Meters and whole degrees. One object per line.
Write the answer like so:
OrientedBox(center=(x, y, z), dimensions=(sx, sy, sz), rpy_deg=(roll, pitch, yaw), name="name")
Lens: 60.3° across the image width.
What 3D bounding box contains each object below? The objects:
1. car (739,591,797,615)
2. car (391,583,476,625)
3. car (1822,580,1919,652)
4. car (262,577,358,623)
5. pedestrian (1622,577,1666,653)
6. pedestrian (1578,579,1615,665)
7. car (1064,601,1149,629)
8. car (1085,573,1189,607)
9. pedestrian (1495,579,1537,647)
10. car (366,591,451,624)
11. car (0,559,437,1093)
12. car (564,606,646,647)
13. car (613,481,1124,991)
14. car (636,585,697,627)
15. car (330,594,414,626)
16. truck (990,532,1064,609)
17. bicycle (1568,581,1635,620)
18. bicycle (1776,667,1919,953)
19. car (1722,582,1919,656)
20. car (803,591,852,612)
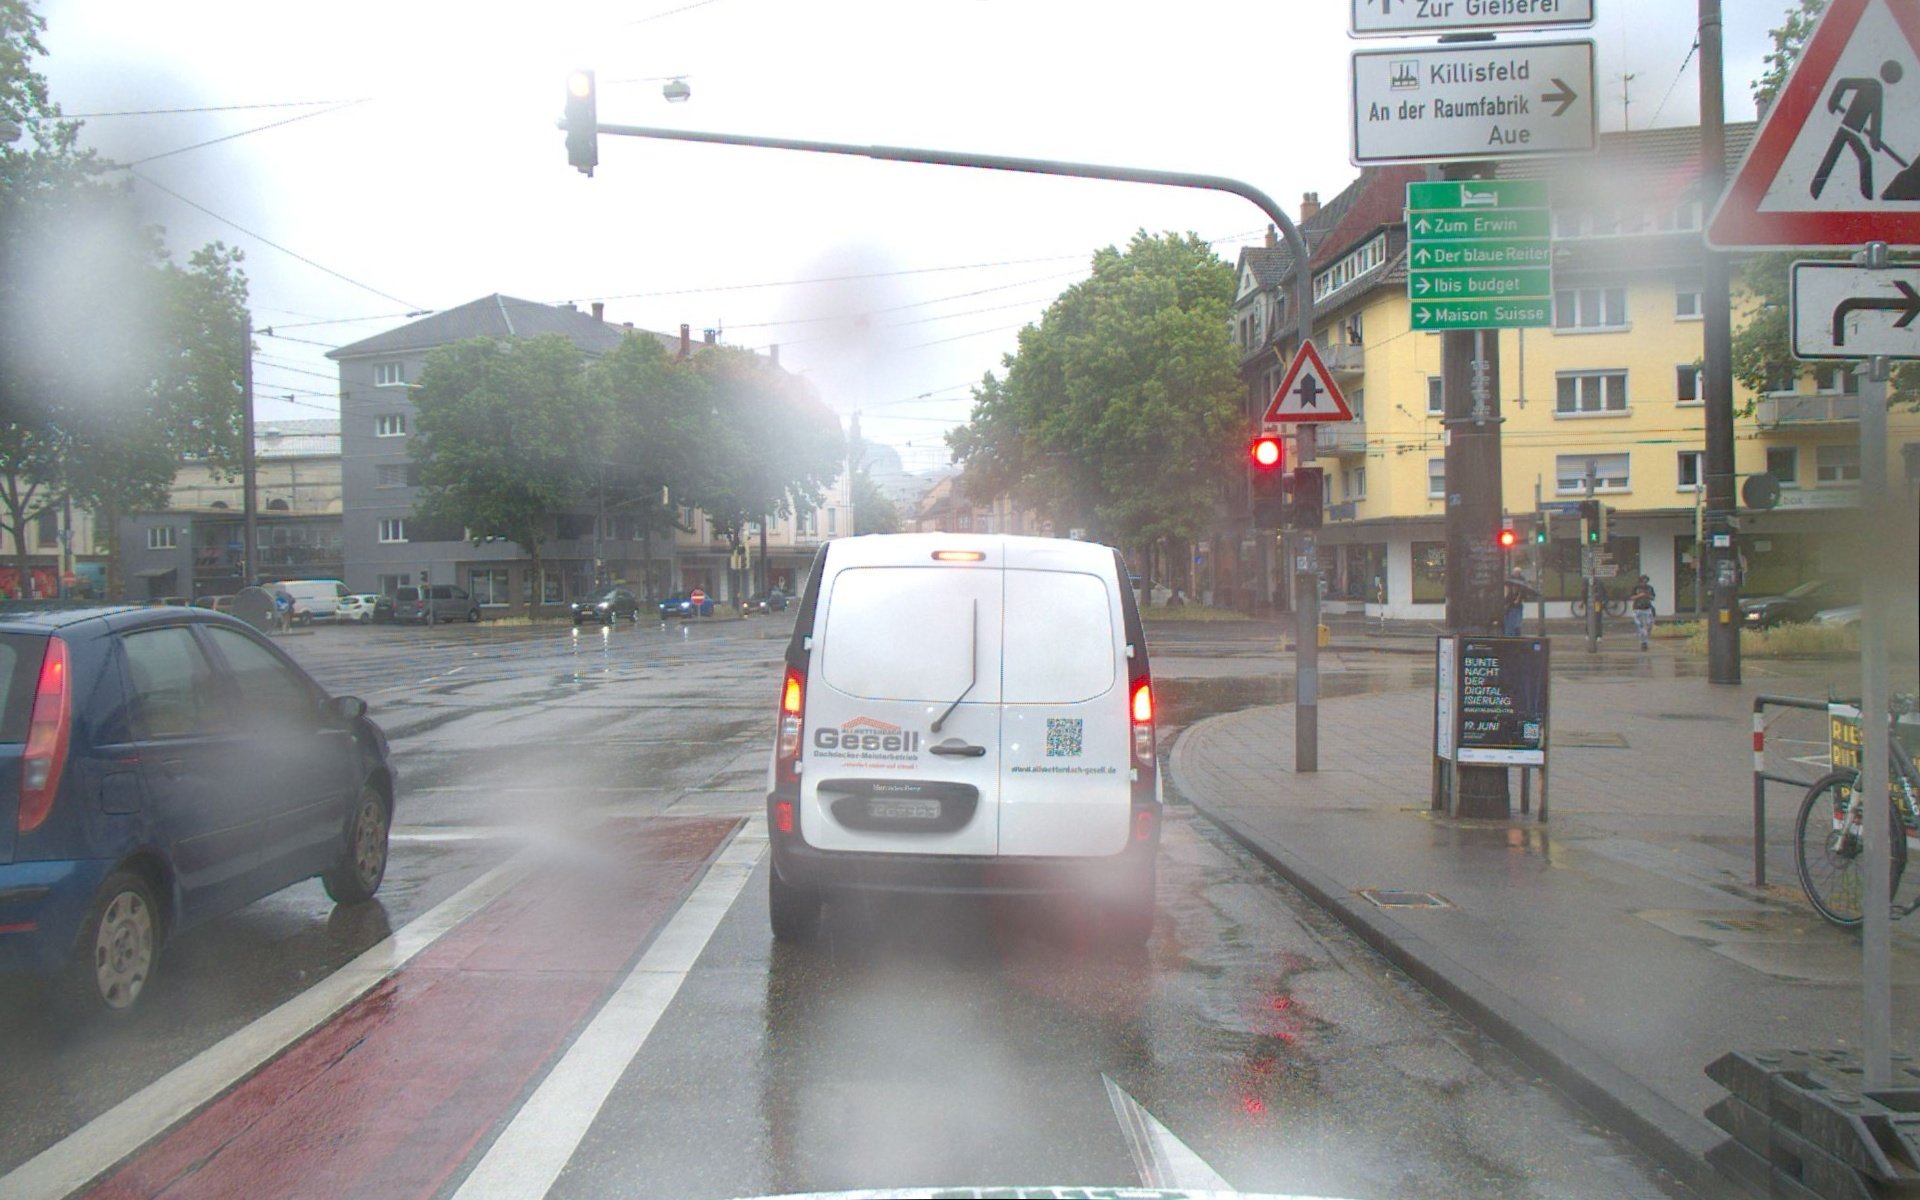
OrientedBox(center=(-11.045, 0.142, 95.429), dimensions=(1.909, 1.260, 4.003), rpy_deg=(0, 2, 16), name="car")
OrientedBox(center=(-26.799, 0.191, 84.285), dimensions=(1.954, 2.049, 3.996), rpy_deg=(0, 0, 26), name="car")
OrientedBox(center=(21.096, 0.332, 35.960), dimensions=(3.854, 1.516, 1.808), rpy_deg=(0, 1, 15), name="car")
OrientedBox(center=(-34.136, -0.032, 86.955), dimensions=(1.953, 2.236, 4.787), rpy_deg=(1, 2, 22), name="car")
OrientedBox(center=(15.561, 0.344, 37.618), dimensions=(0.886, 1.698, 1.019), rpy_deg=(0, 0, 25), name="pedestrian")
OrientedBox(center=(15.386, 0.514, 39.978), dimensions=(0.779, 2.049, 0.860), rpy_deg=(0, 0, 24), name="pedestrian")
OrientedBox(center=(6.274, 0.639, 70.983), dimensions=(3.378, 1.150, 1.469), rpy_deg=(0, 0, -9), name="car")
OrientedBox(center=(7.395, -0.419, 69.060), dimensions=(4.088, 1.362, 1.518), rpy_deg=(0, 1, -8), name="car")
OrientedBox(center=(13.060, 0.300, 38.856), dimensions=(0.809, 1.561, 0.614), rpy_deg=(1, 0, -39), name="pedestrian")
OrientedBox(center=(-28.729, 0.379, 86.295), dimensions=(1.954, 1.556, 3.997), rpy_deg=(0, 2, 26), name="car")
OrientedBox(center=(-3.609, 0.673, 6.874), dimensions=(1.692, 1.606, 3.820), rpy_deg=(0, 0, -1), name="car")
OrientedBox(center=(-15.776, 1.161, 73.646), dimensions=(1.909, 1.635, 4.003), rpy_deg=(0, 2, 16), name="car")
OrientedBox(center=(-0.404, 0.552, 9.166), dimensions=(2.058, 2.047, 4.962), rpy_deg=(0, 0, -1), name="car")
OrientedBox(center=(-14.856, 0.287, 84.002), dimensions=(1.951, 2.049, 4.003), rpy_deg=(0, 0, 7), name="car")
OrientedBox(center=(-30.958, 0.504, 87.196), dimensions=(1.915, 1.522, 3.997), rpy_deg=(0, 2, 26), name="car")
OrientedBox(center=(4.974, -2.000, 118.822), dimensions=(3.395, 5.176, 15.320), rpy_deg=(0, 0, 10), name="truck")
OrientedBox(center=(21.552, 0.005, 55.583), dimensions=(2.056, 1.283, 0.532), rpy_deg=(0, 1, 14), name="bicycle")
OrientedBox(center=(4.253, 0.911, 7.073), dimensions=(0.503, 1.126, 2.017), rpy_deg=(3, 0, 1), name="bicycle")
OrientedBox(center=(20.860, 0.462, 39.065), dimensions=(4.832, 1.672, 2.001), rpy_deg=(0, -2, 11), name="car")
OrientedBox(center=(-8.541, 0.074, 106.966), dimensions=(1.909, 1.260, 4.003), rpy_deg=(0, 2, 16), name="car")
